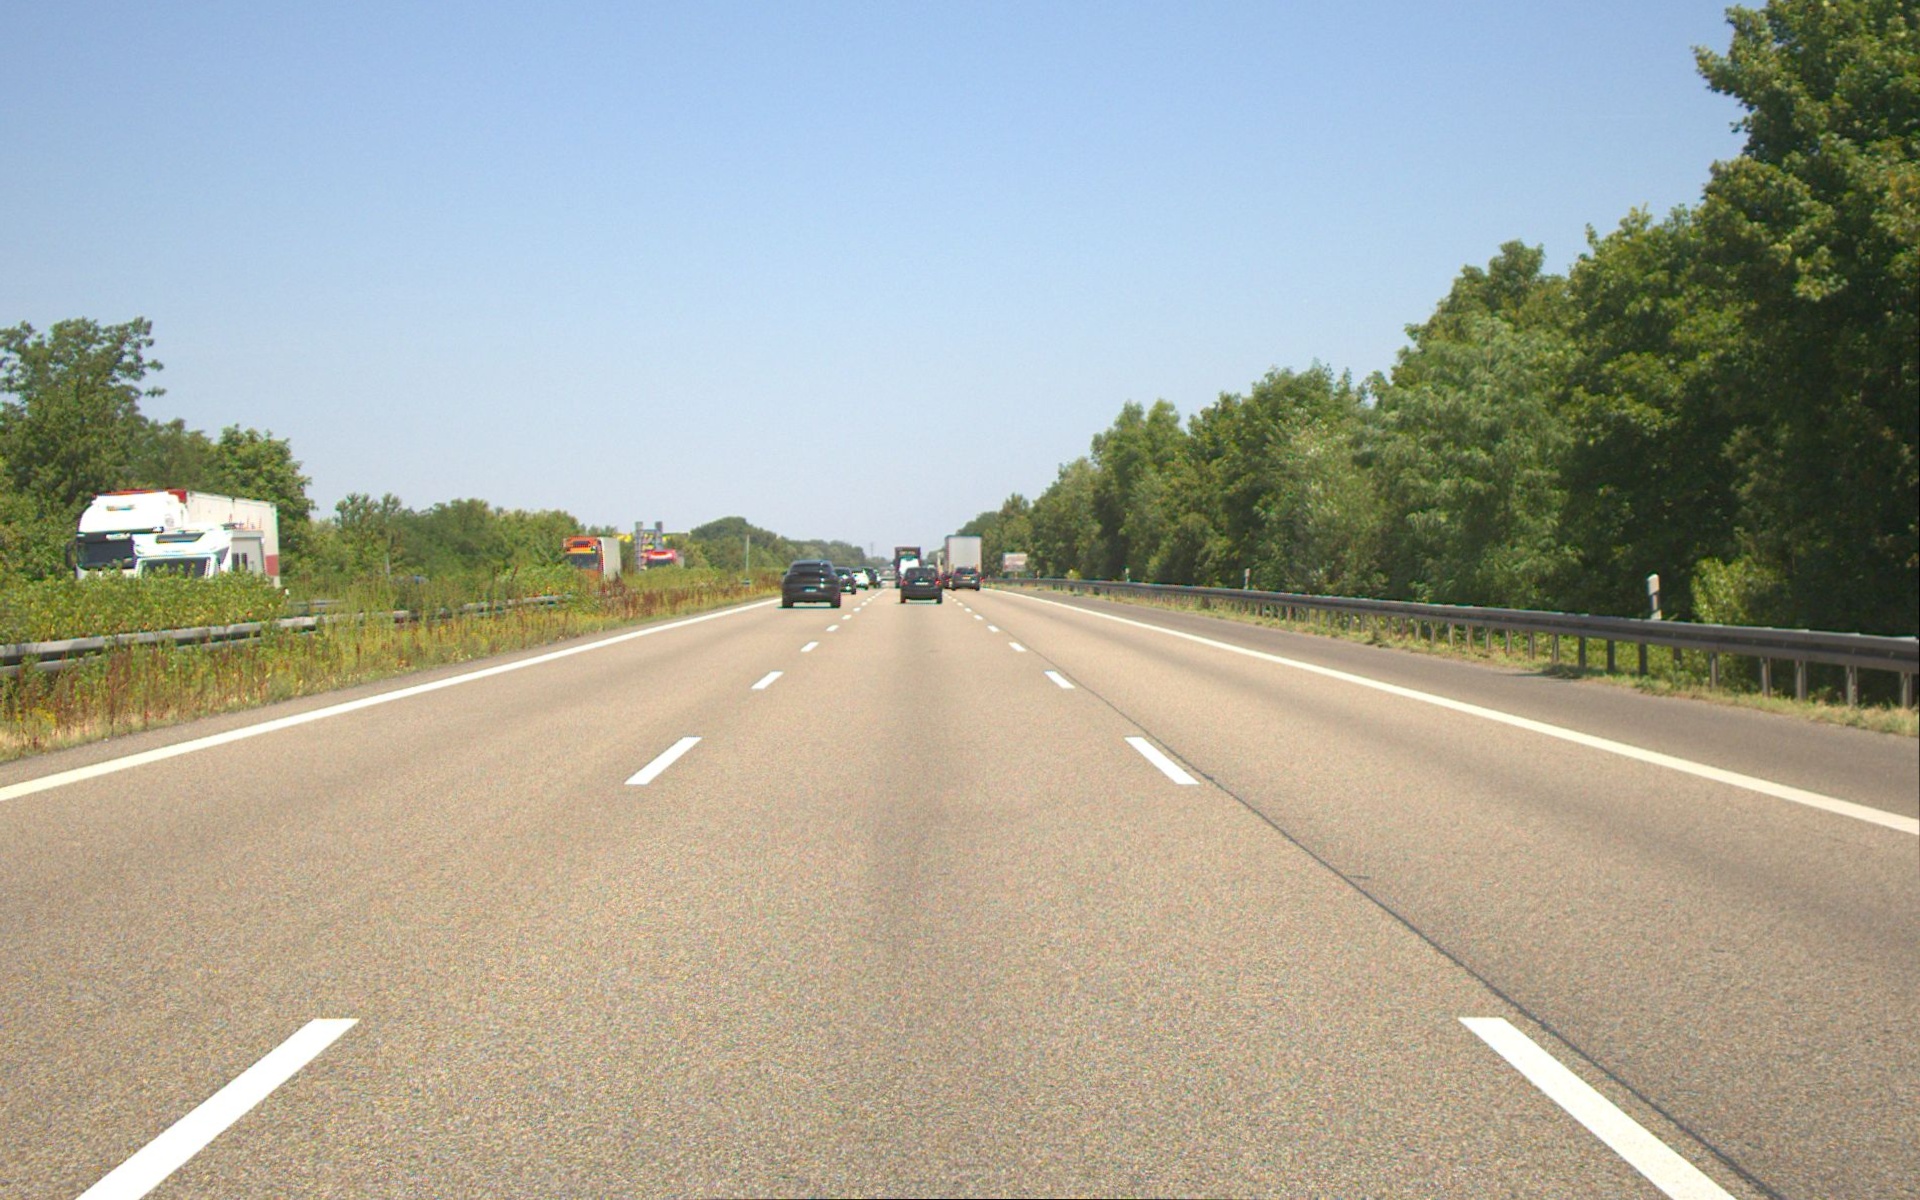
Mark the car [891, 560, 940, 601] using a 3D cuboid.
[{"bbox_3d":[-1.744,-0.771,136.008,1.903,1.578,4.304,-1,0,0],"label":"car"}]

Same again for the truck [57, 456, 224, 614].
[{"bbox_3d":[-22.604,-1.785,95.214,2.842,4.192,7.715,0,1,0],"label":"truck"}]

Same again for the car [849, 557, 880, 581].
[{"bbox_3d":[-6.772,-2.174,243.921,2.128,1.640,4.304,-1,0,0],"label":"car"}]

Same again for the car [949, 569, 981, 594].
[{"bbox_3d":[0.315,-1.225,229.095,2.128,1.578,4.304,-1,0,0],"label":"car"}]

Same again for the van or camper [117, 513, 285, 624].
[{"bbox_3d":[-18.333,-0.763,83.439,2.465,2.568,7.411,0,1,0],"label":"van or camper"}]

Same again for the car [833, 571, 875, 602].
[{"bbox_3d":[-5.778,-0.760,187.659,2.128,1.640,4.304,-1,0,0],"label":"car"}]

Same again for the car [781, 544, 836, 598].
[{"bbox_3d":[-5.277,-1.035,119.843,1.880,1.786,4.001,0,2,-2],"label":"car"}]

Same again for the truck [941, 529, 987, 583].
[{"bbox_3d":[0.263,-3.330,261.081,3.385,3.957,9.537,-1,0,0],"label":"truck"}]
